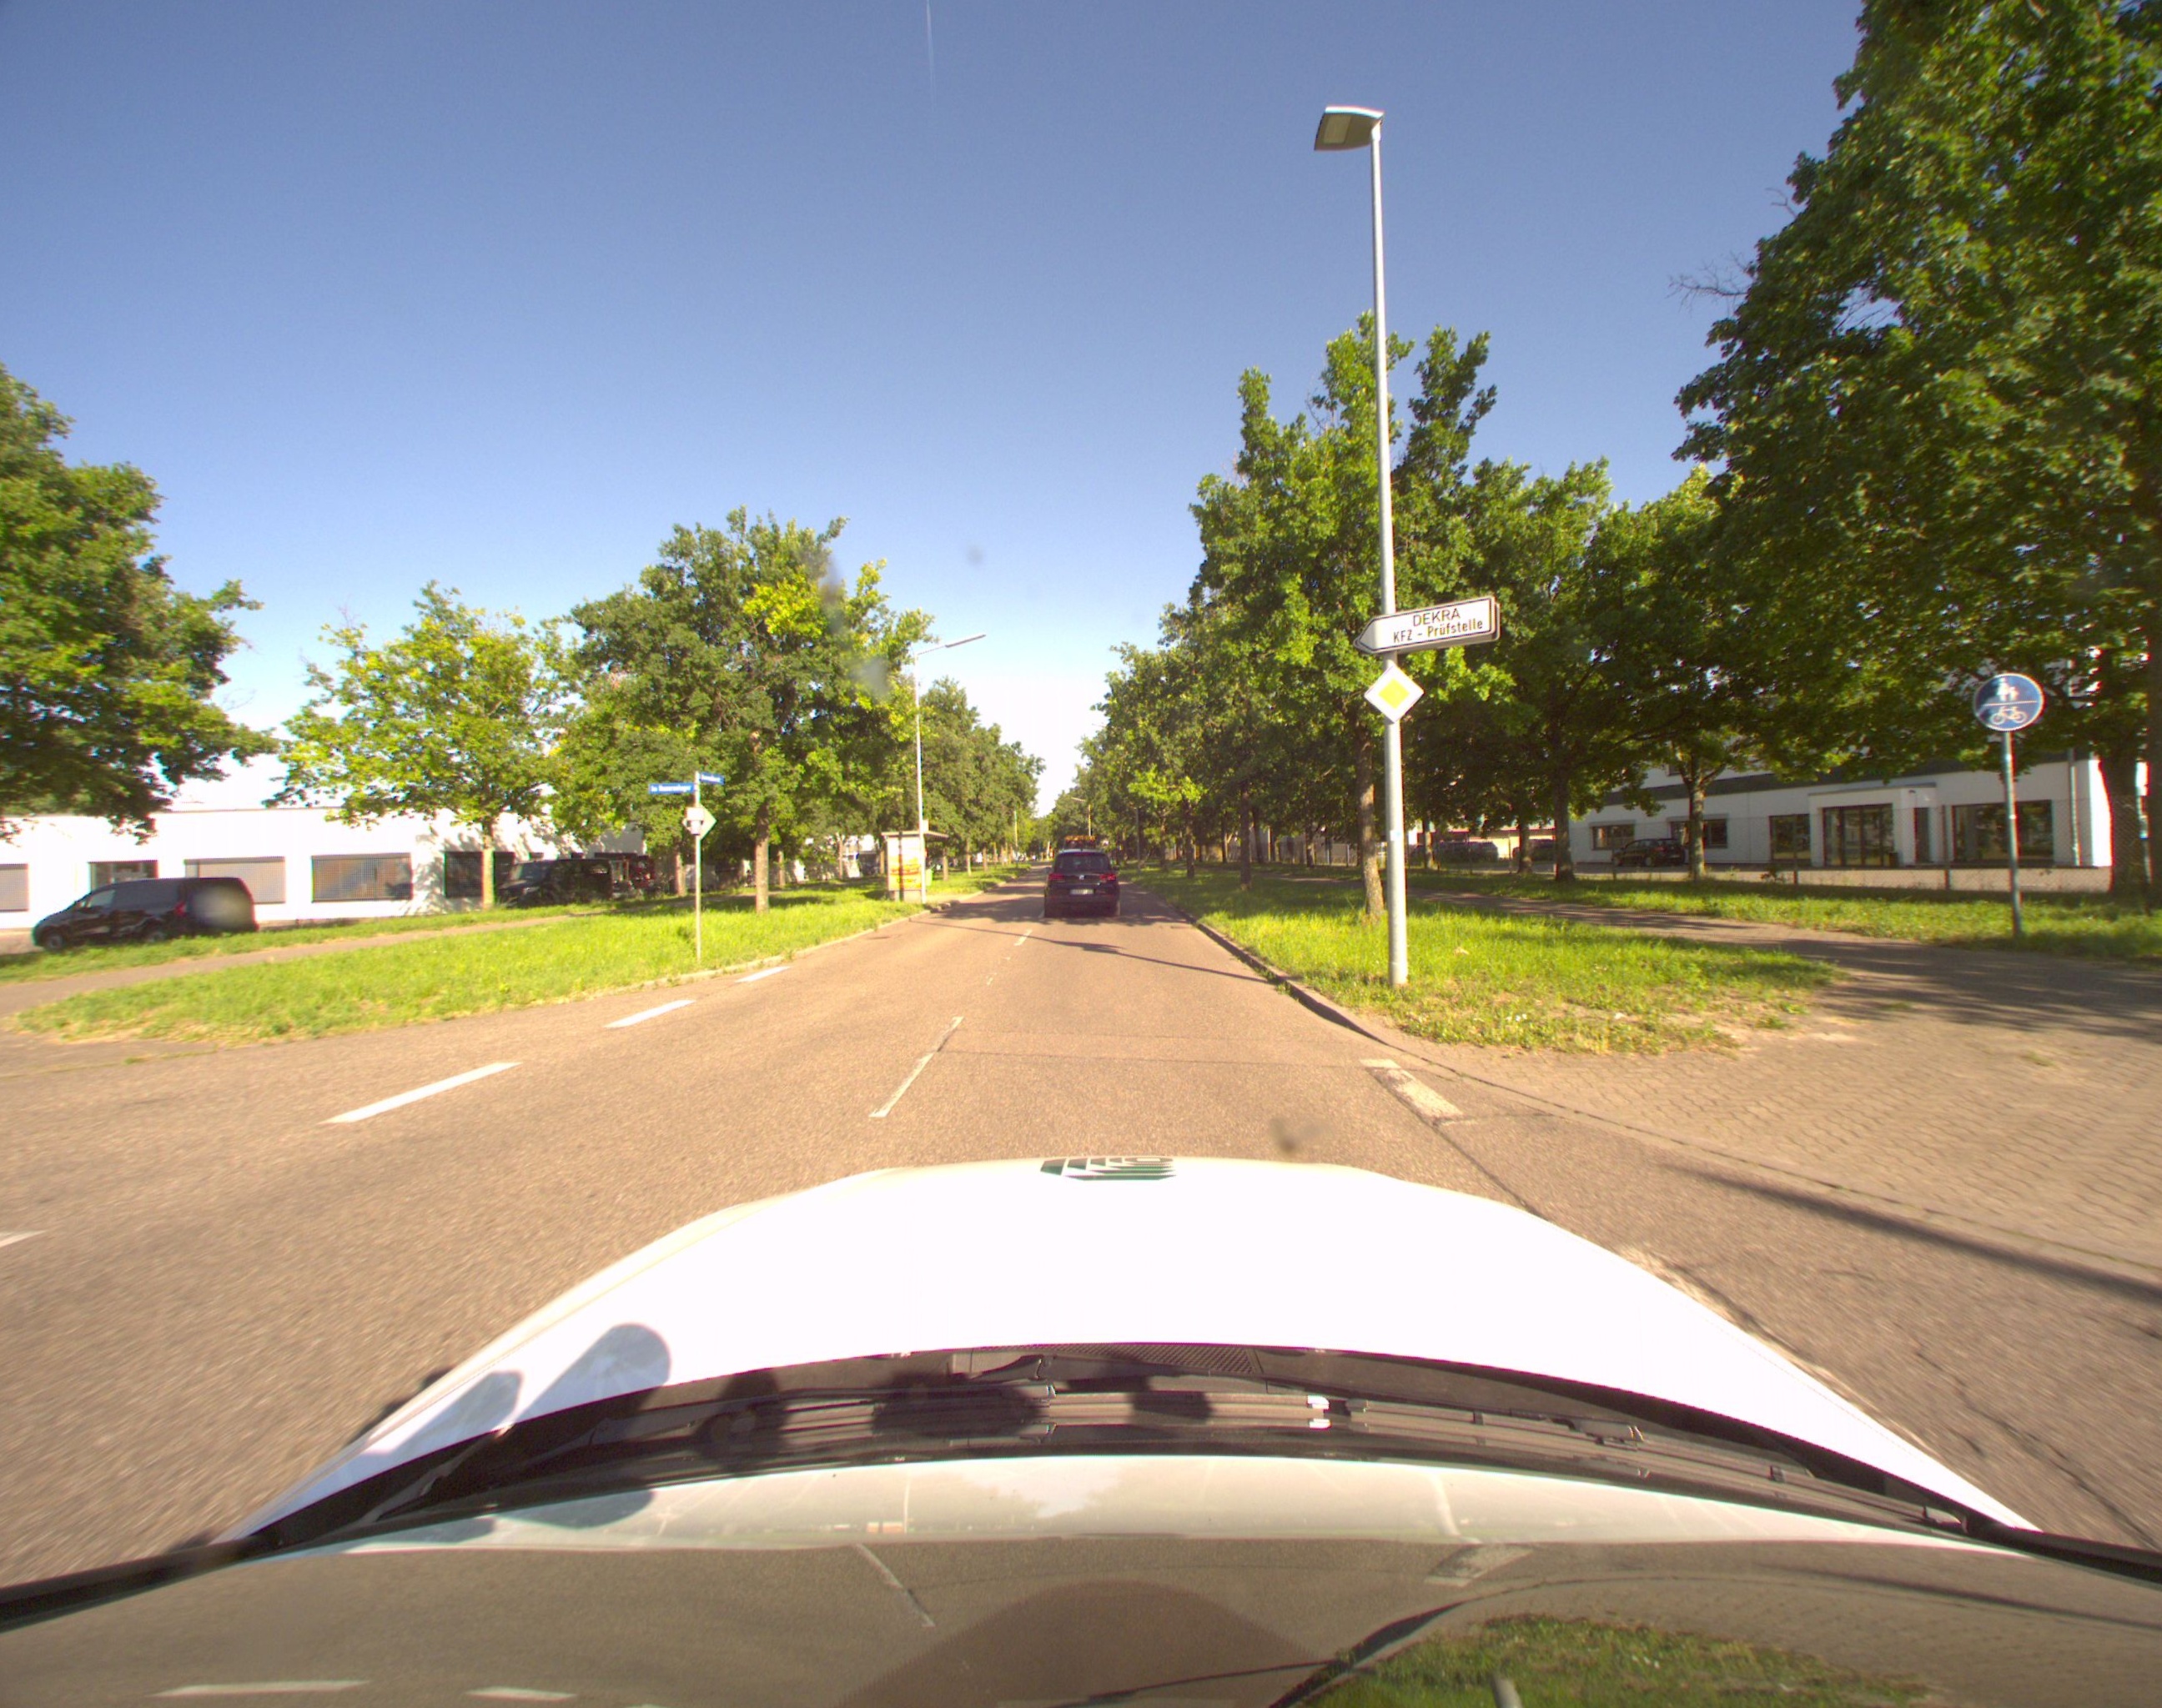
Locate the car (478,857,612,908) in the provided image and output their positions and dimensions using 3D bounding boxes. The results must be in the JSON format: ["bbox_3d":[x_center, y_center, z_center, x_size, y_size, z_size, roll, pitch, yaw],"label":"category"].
[{"bbox_3d":[-23.472,1.189,36.026,2.029,1.988,5.806,-2,0,0],"label":"car"}]

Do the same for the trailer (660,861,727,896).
[{"bbox_3d":[-23.408,1.459,49.342,2.094,1.914,3.742,-2,0,2],"label":"trailer"}]

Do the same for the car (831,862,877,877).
[{"bbox_3d":[-23.101,1.551,83.012,4.187,1.288,1.940,-2,0,-2],"label":"car"}]

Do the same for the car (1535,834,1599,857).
[{"bbox_3d":[38.555,-0.650,64.758,2.178,1.744,4.638,-2,0,-2],"label":"car"}]

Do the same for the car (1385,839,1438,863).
[{"bbox_3d":[25.975,-0.241,64.225,2.178,1.744,4.638,-2,0,-2],"label":"car"}]

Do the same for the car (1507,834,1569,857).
[{"bbox_3d":[36.311,-0.653,64.830,2.178,1.744,4.638,-2,0,-2],"label":"car"}]

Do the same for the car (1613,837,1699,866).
[{"bbox_3d":[29.995,-0.124,42.633,1.760,1.383,3.765,-2,0,-2],"label":"car"}]

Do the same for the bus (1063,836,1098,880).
[{"bbox_3d":[0.026,0.323,72.438,2.755,3.456,11.210,-2,0,0],"label":"bus"}]

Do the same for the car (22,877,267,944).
[{"bbox_3d":[-24.091,1.427,21.048,4.476,1.479,1.945,-2,0,7],"label":"car"}]

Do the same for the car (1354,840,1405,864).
[{"bbox_3d":[23.497,-0.166,64.235,2.178,1.744,4.638,-2,0,-2],"label":"car"}]

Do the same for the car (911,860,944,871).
[{"bbox_3d":[-21.881,1.641,116.231,4.179,1.321,1.944,-2,0,4],"label":"car"}]

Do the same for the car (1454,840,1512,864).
[{"bbox_3d":[31.947,-0.167,64.865,2.178,1.744,4.638,-2,0,-2],"label":"car"}]

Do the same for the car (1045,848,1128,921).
[{"bbox_3d":[0.116,0.695,21.090,1.930,1.656,4.426,0,0,0],"label":"car"}]

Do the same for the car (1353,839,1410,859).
[{"bbox_3d":[28.714,-0.452,77.799,4.621,1.744,2.187,-2,0,-7],"label":"car"}]

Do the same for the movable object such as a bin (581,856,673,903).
[{"bbox_3d":[-23.390,1.279,42.206,2.094,2.217,4.462,-2,0,2],"label":"movable object such as a bin"}]
